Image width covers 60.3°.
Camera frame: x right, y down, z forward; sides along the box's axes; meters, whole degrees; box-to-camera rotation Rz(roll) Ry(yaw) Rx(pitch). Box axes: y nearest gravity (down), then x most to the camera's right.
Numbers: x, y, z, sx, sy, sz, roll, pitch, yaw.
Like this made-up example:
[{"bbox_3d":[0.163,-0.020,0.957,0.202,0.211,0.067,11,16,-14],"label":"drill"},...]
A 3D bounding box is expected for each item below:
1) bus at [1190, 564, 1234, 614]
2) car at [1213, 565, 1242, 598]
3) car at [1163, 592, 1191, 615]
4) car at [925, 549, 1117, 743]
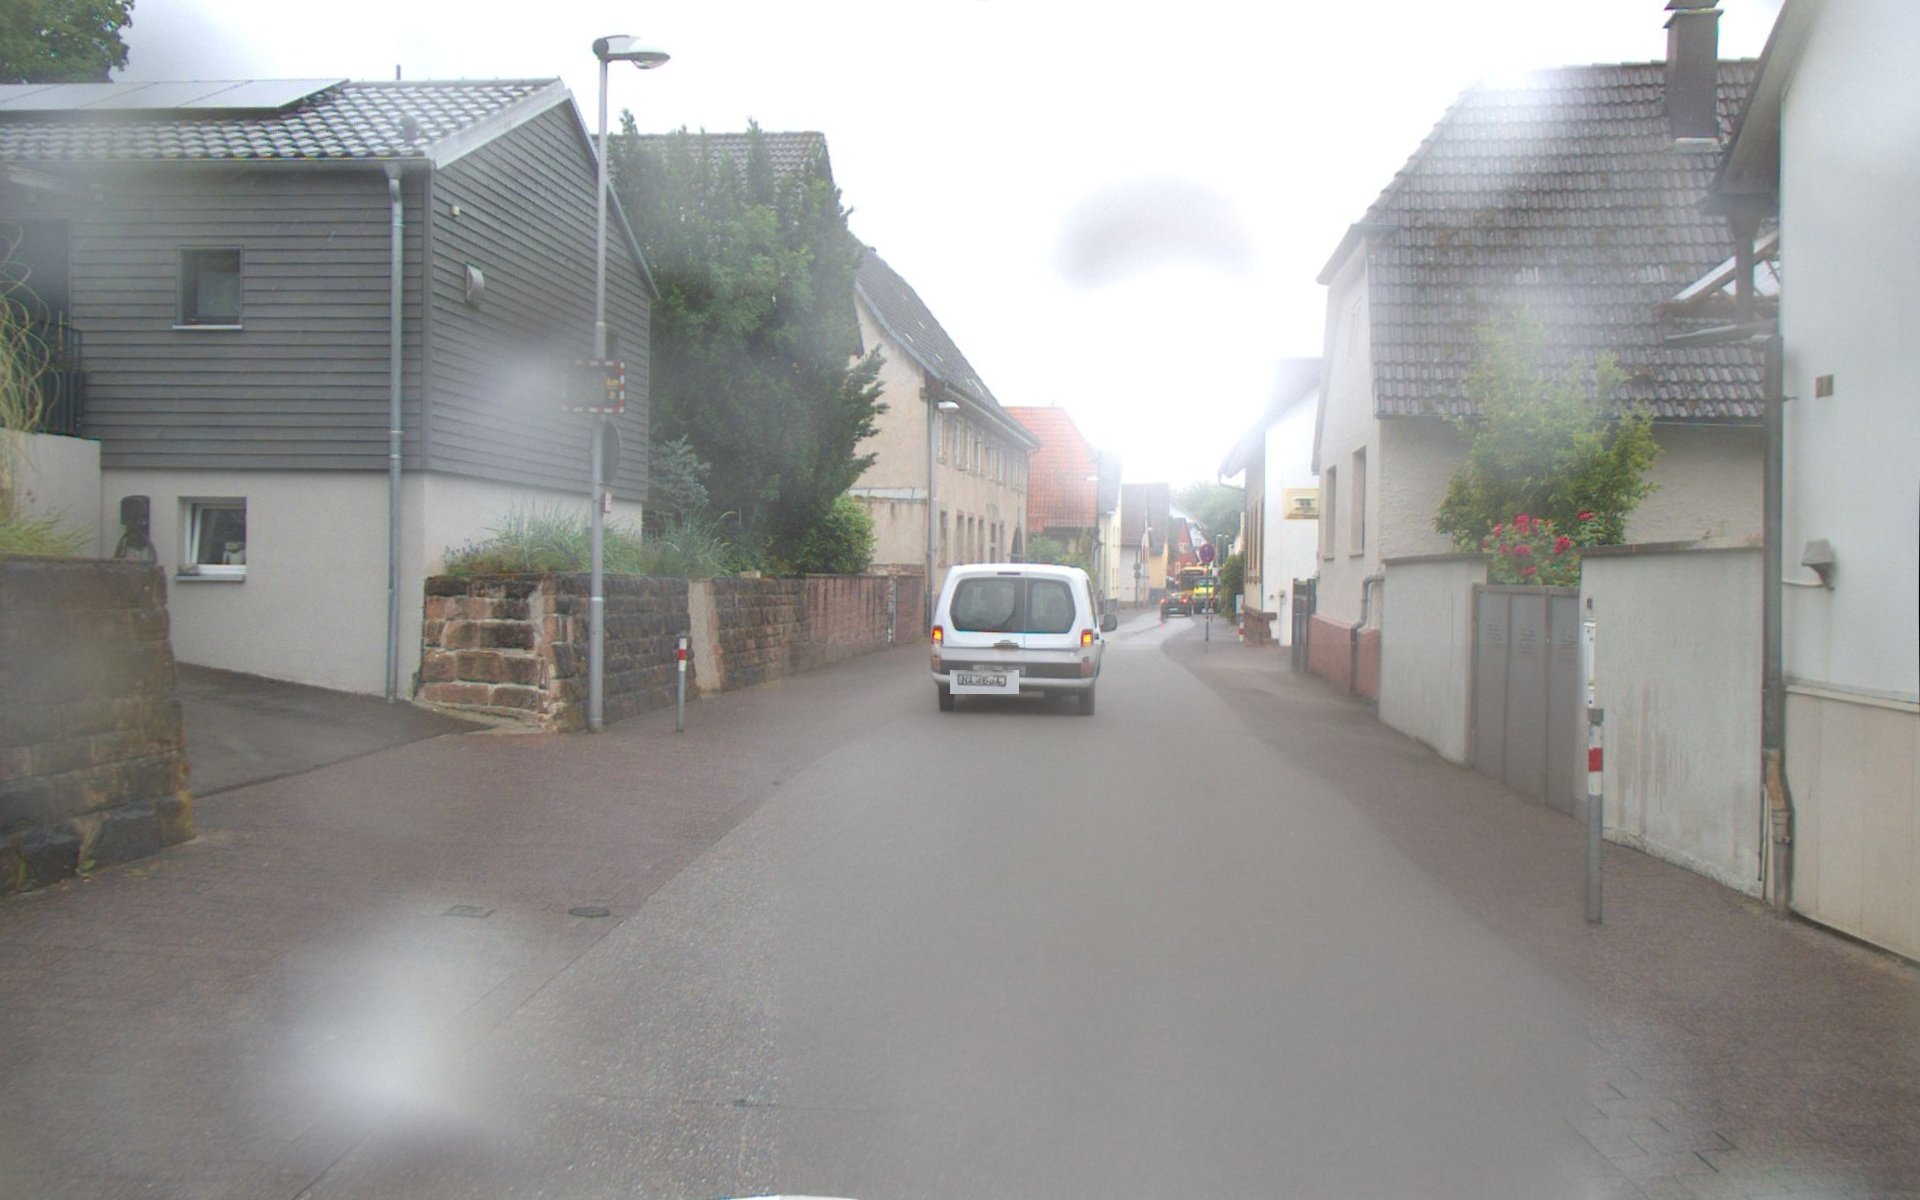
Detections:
[{"bbox_3d":[17.828,-0.713,116.723,2.734,3.235,8.184,3,0,10],"label":"bus"},{"bbox_3d":[17.772,-1.238,109.874,1.788,2.049,3.697,2,0,10],"label":"car"},{"bbox_3d":[13.676,0.235,104.254,1.528,1.395,3.588,2,0,10],"label":"car"},{"bbox_3d":[0.787,0.454,18.181,1.757,1.850,4.104,1,0,7],"label":"car"}]
